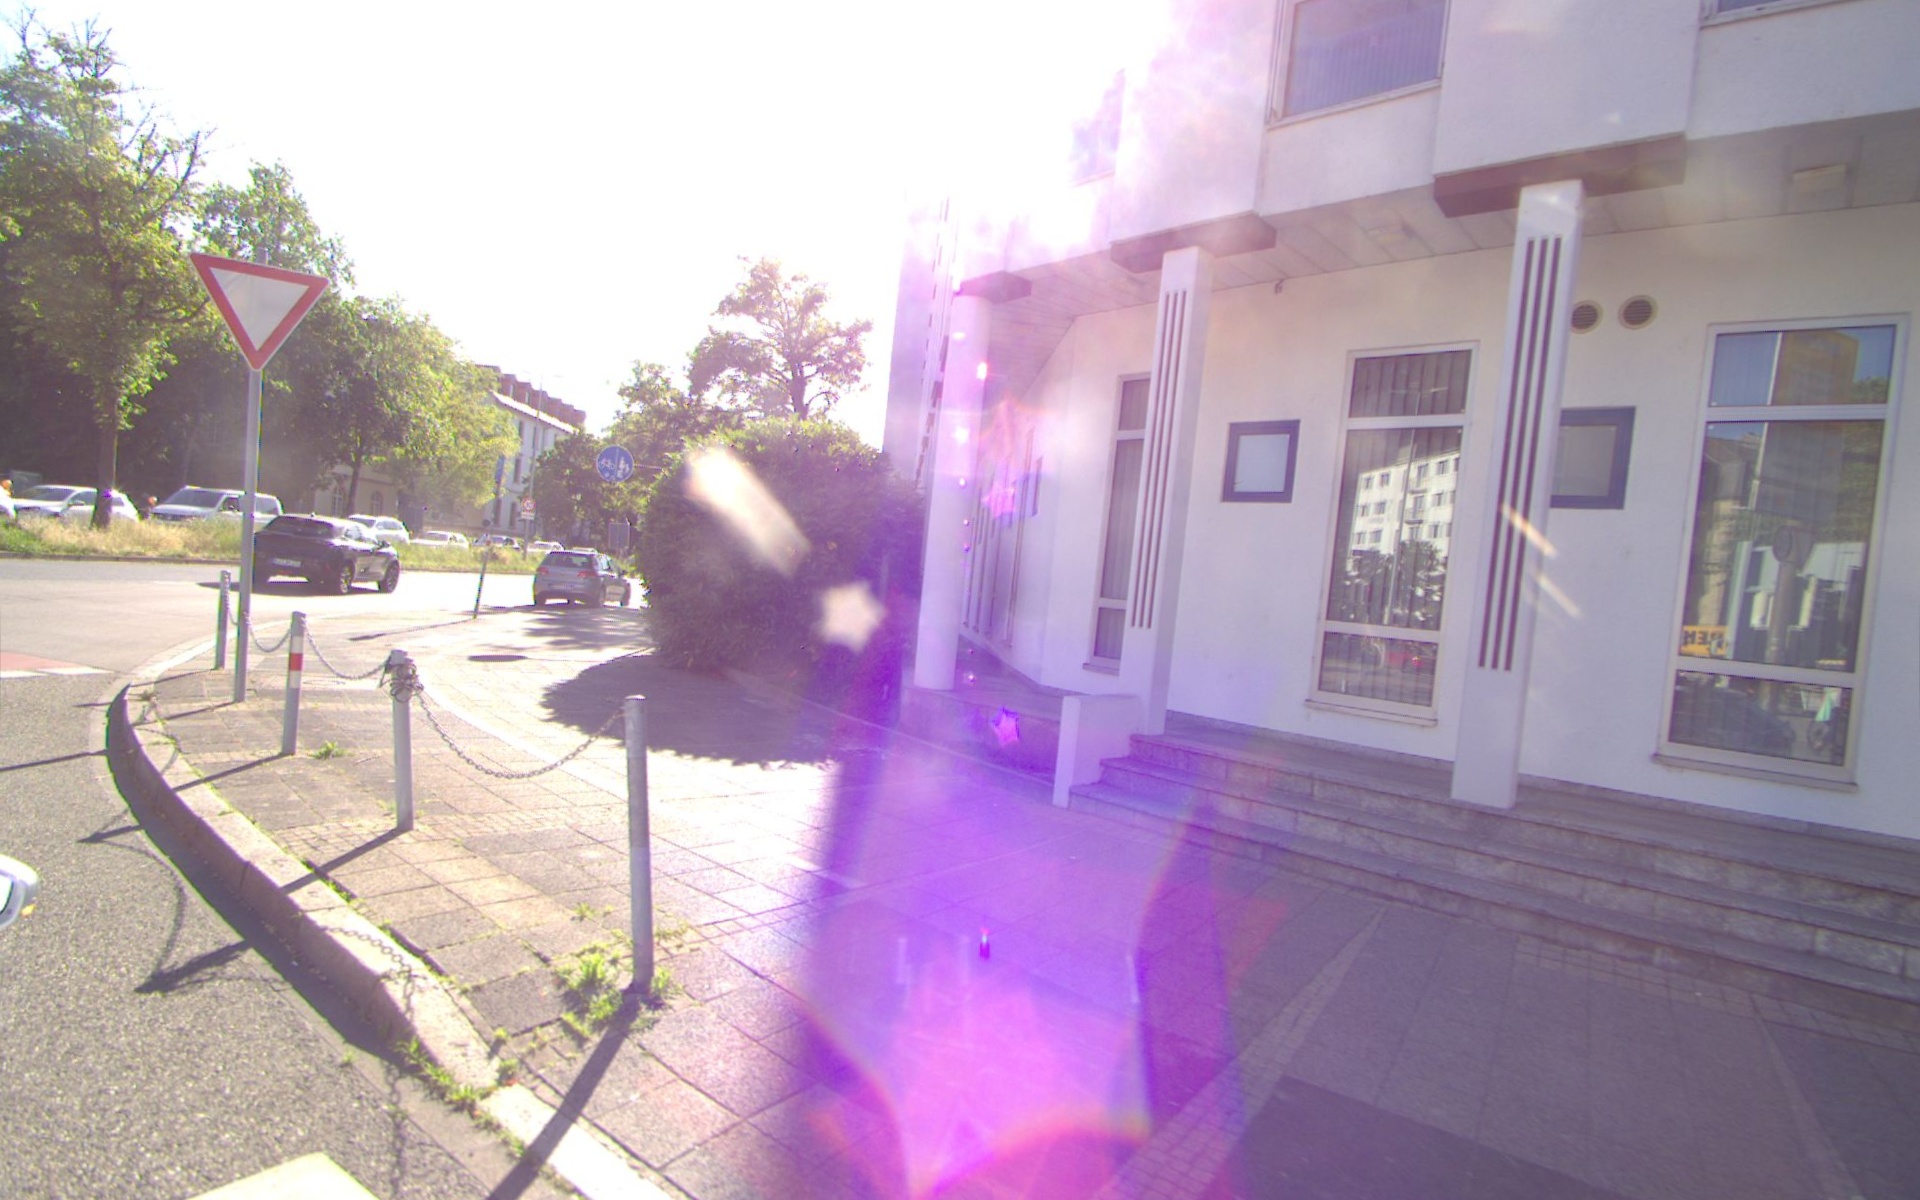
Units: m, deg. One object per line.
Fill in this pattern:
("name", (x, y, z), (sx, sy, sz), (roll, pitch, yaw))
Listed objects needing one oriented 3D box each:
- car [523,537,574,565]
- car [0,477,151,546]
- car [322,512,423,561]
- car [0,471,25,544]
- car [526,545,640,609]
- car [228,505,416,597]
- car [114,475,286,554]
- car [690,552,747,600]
("car", (-27.395, -3.225, 67.056), (1.769, 1.538, 4.254), (7, 0, -4))
("car", (-25.240, -2.469, 28.273), (1.769, 1.538, 4.076), (7, 0, -4))
("car", (-26.339, -2.792, 45.331), (1.769, 1.765, 5.027), (6, 0, -4))
("car", (-21.440, -2.086, 20.042), (1.769, 1.538, 4.201), (6, 0, -4))
("car", (-10.224, -0.669, 27.599), (1.613, 1.468, 4.149), (6, 2, -3))
("car", (-13.631, -1.001, 21.798), (1.869, 1.537, 3.992), (8, 0, -9))
("car", (-25.926, -2.847, 34.599), (2.200, 2.053, 5.013), (7, 0, -4))
("car", (-11.469, -1.095, 48.084), (1.635, 2.039, 4.773), (5, 0, -3))
